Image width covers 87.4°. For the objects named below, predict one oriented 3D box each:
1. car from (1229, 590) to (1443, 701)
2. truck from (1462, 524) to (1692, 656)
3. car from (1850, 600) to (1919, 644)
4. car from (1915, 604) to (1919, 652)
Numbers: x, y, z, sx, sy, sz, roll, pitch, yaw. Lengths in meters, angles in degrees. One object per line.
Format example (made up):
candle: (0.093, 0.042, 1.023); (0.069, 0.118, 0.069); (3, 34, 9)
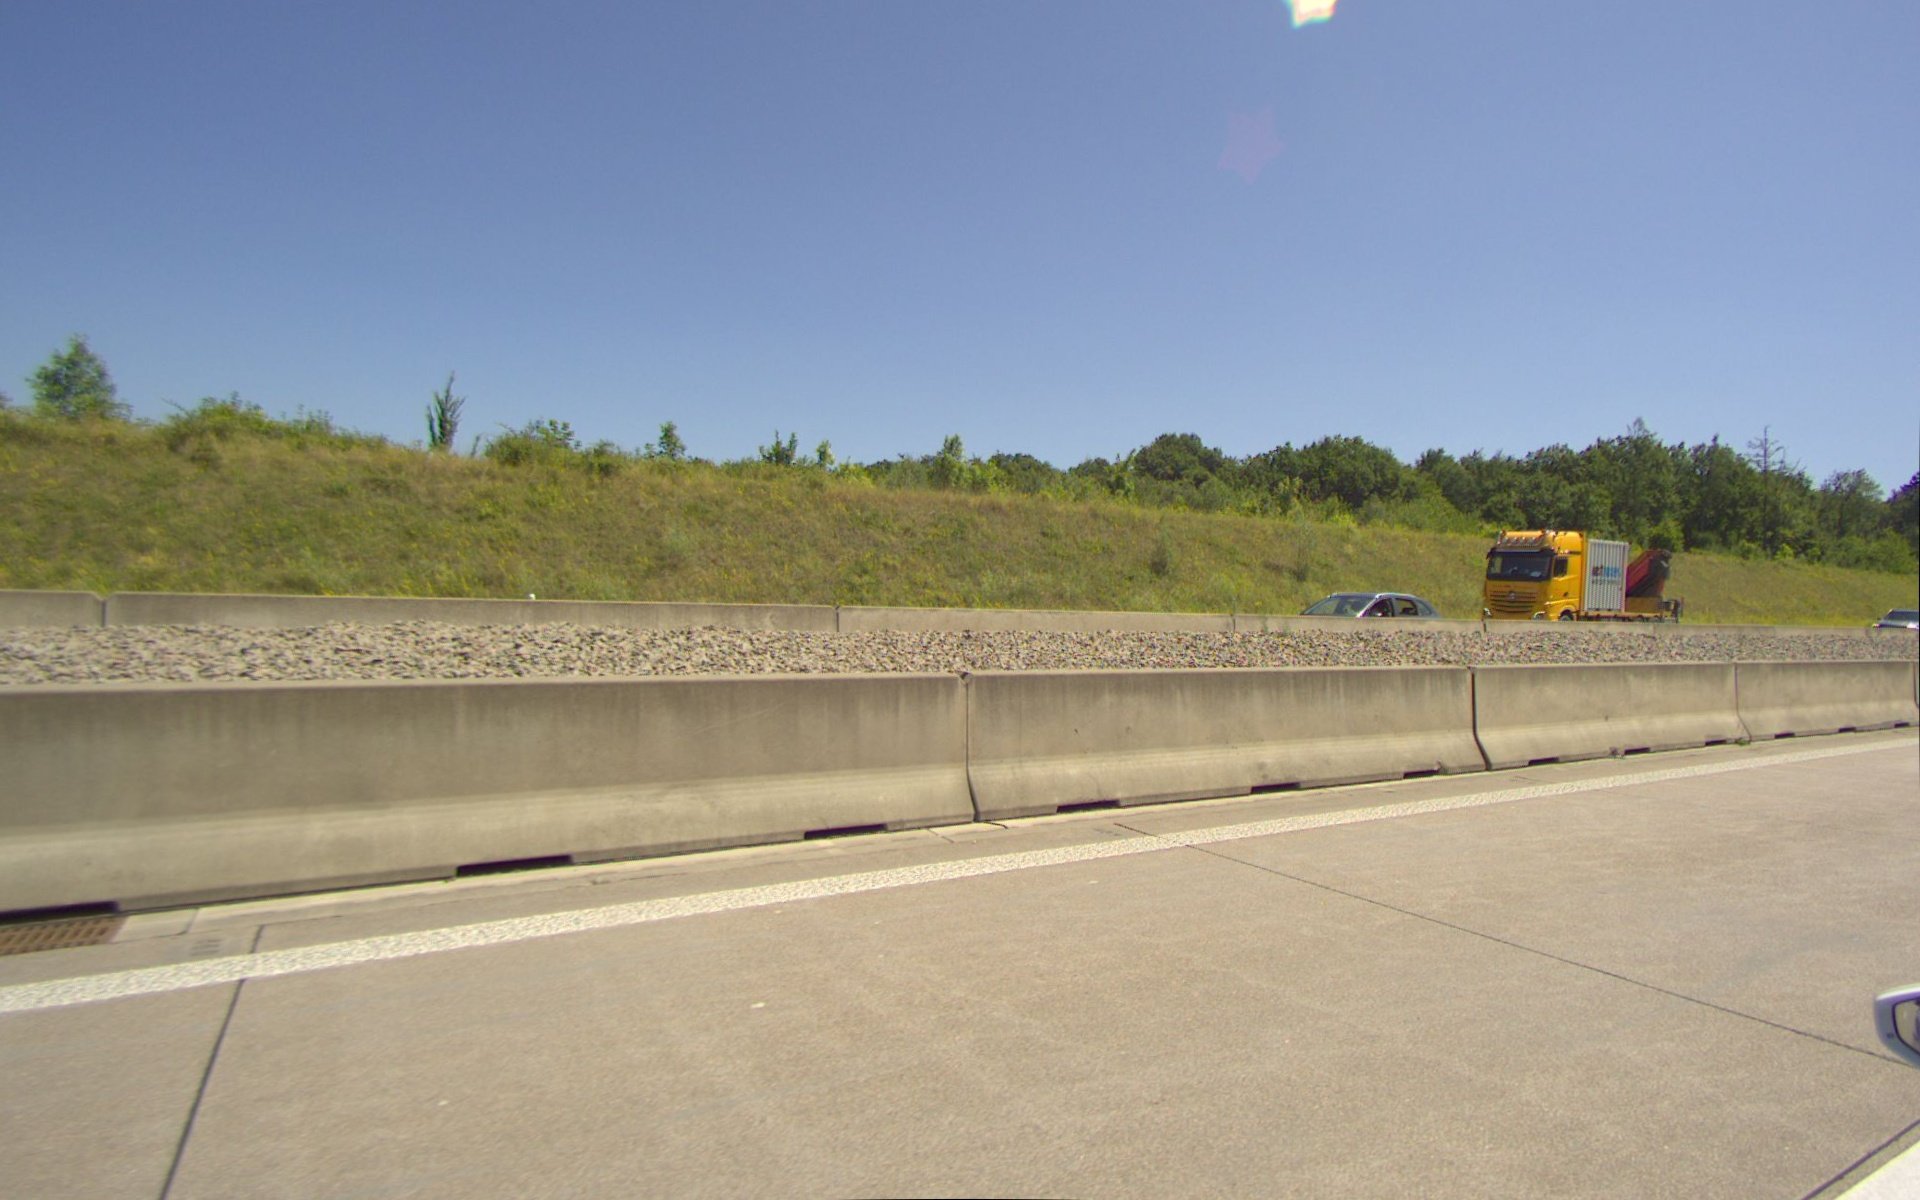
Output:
car: (7.584, 0.878, 20.234); (3.953, 2.040, 1.984); (1, -1, -30)
truck: (24.057, -0.235, 38.823); (11.133, 4.573, 2.898); (1, 0, -32)
car: (45.767, 1.094, 48.907); (4.747, 2.040, 2.273); (1, -1, -30)
car: (42.709, 1.222, 42.818); (4.413, 2.040, 1.981); (1, -1, -34)
